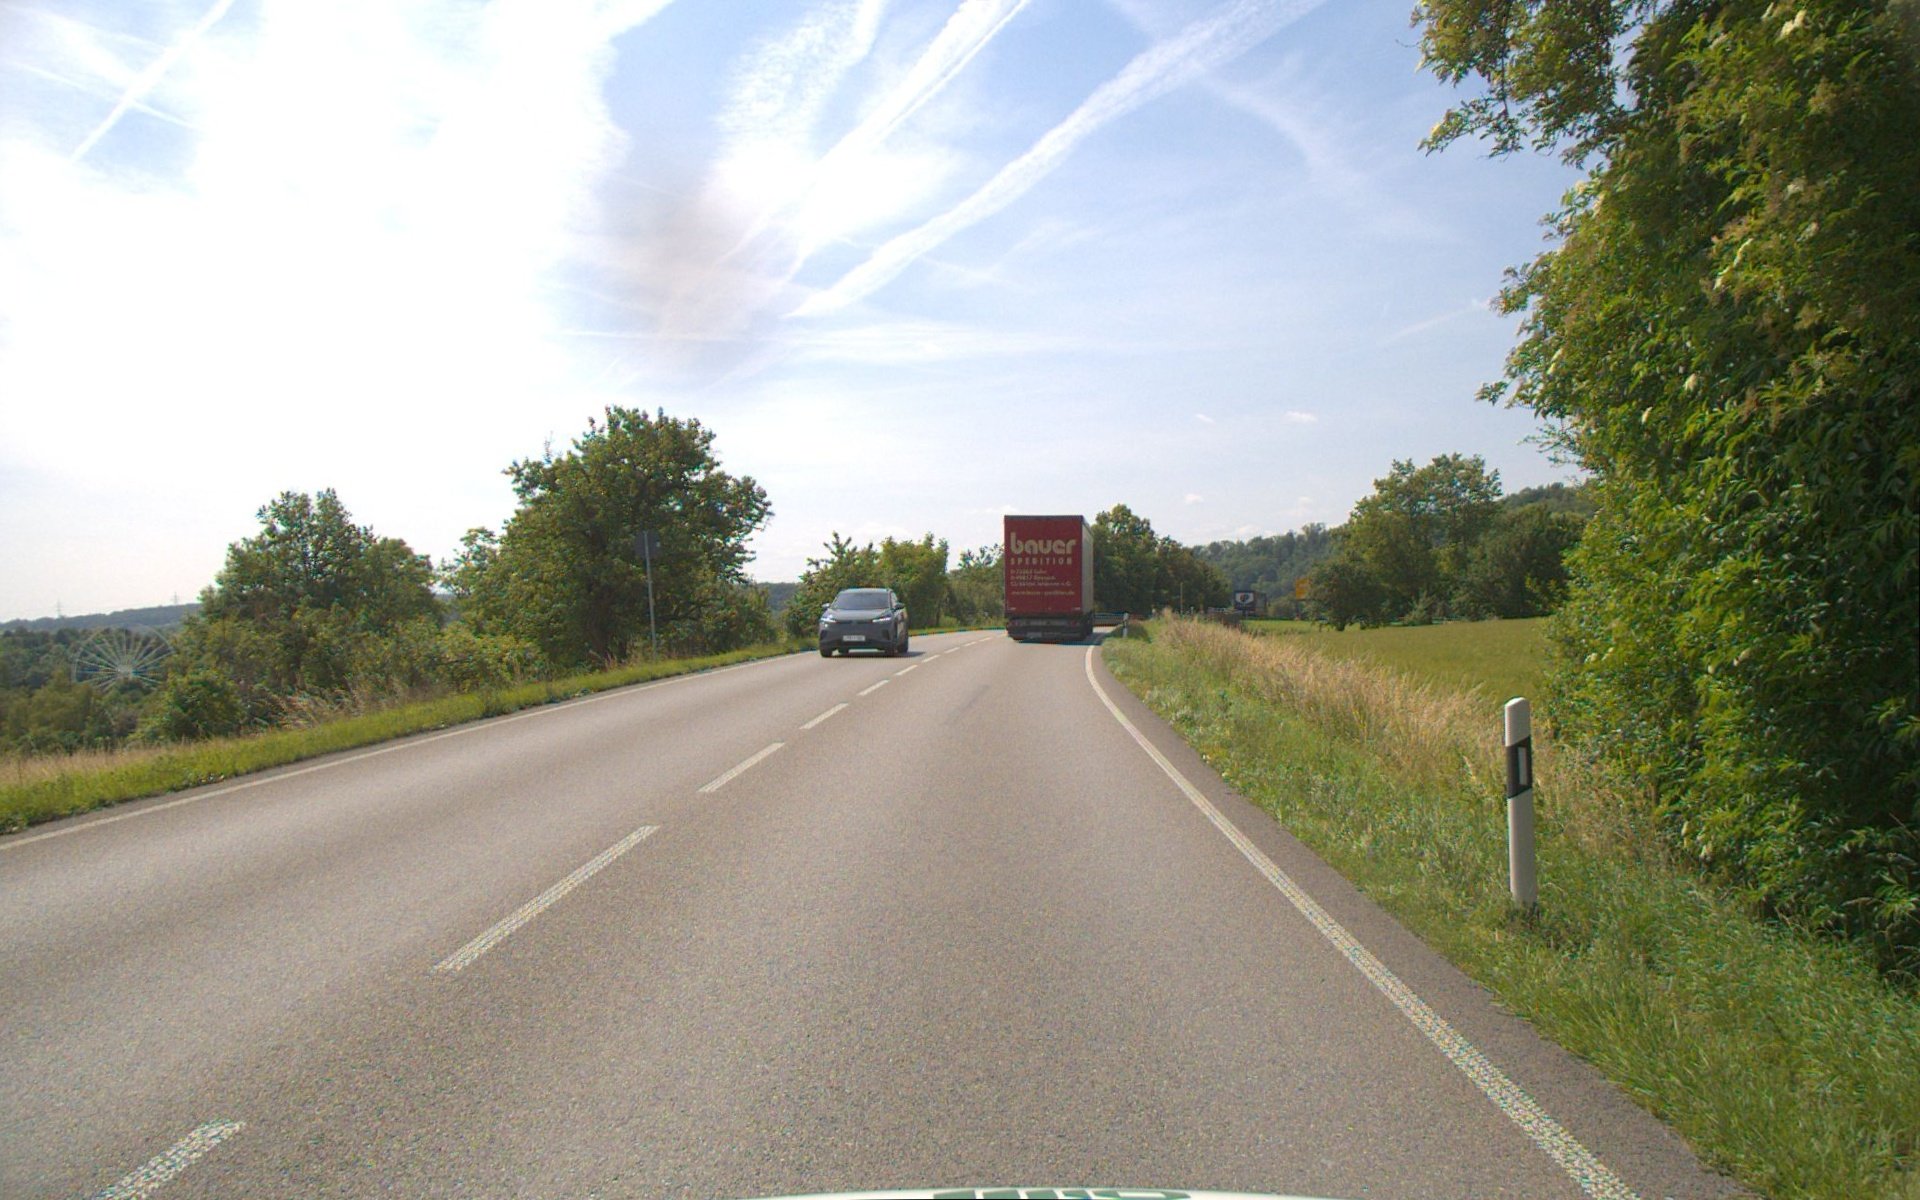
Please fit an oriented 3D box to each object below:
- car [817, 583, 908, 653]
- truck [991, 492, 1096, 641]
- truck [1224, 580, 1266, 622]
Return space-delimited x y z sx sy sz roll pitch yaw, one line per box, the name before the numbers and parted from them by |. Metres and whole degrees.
car | -2.373 0.427 41.232 1.840 1.621 4.492 -1 0 2
truck | 3.107 -0.933 57.650 3.046 4.585 12.174 1 -1 5
truck | 34.853 0.247 201.864 3.820 4.772 16.388 -2 -1 13
